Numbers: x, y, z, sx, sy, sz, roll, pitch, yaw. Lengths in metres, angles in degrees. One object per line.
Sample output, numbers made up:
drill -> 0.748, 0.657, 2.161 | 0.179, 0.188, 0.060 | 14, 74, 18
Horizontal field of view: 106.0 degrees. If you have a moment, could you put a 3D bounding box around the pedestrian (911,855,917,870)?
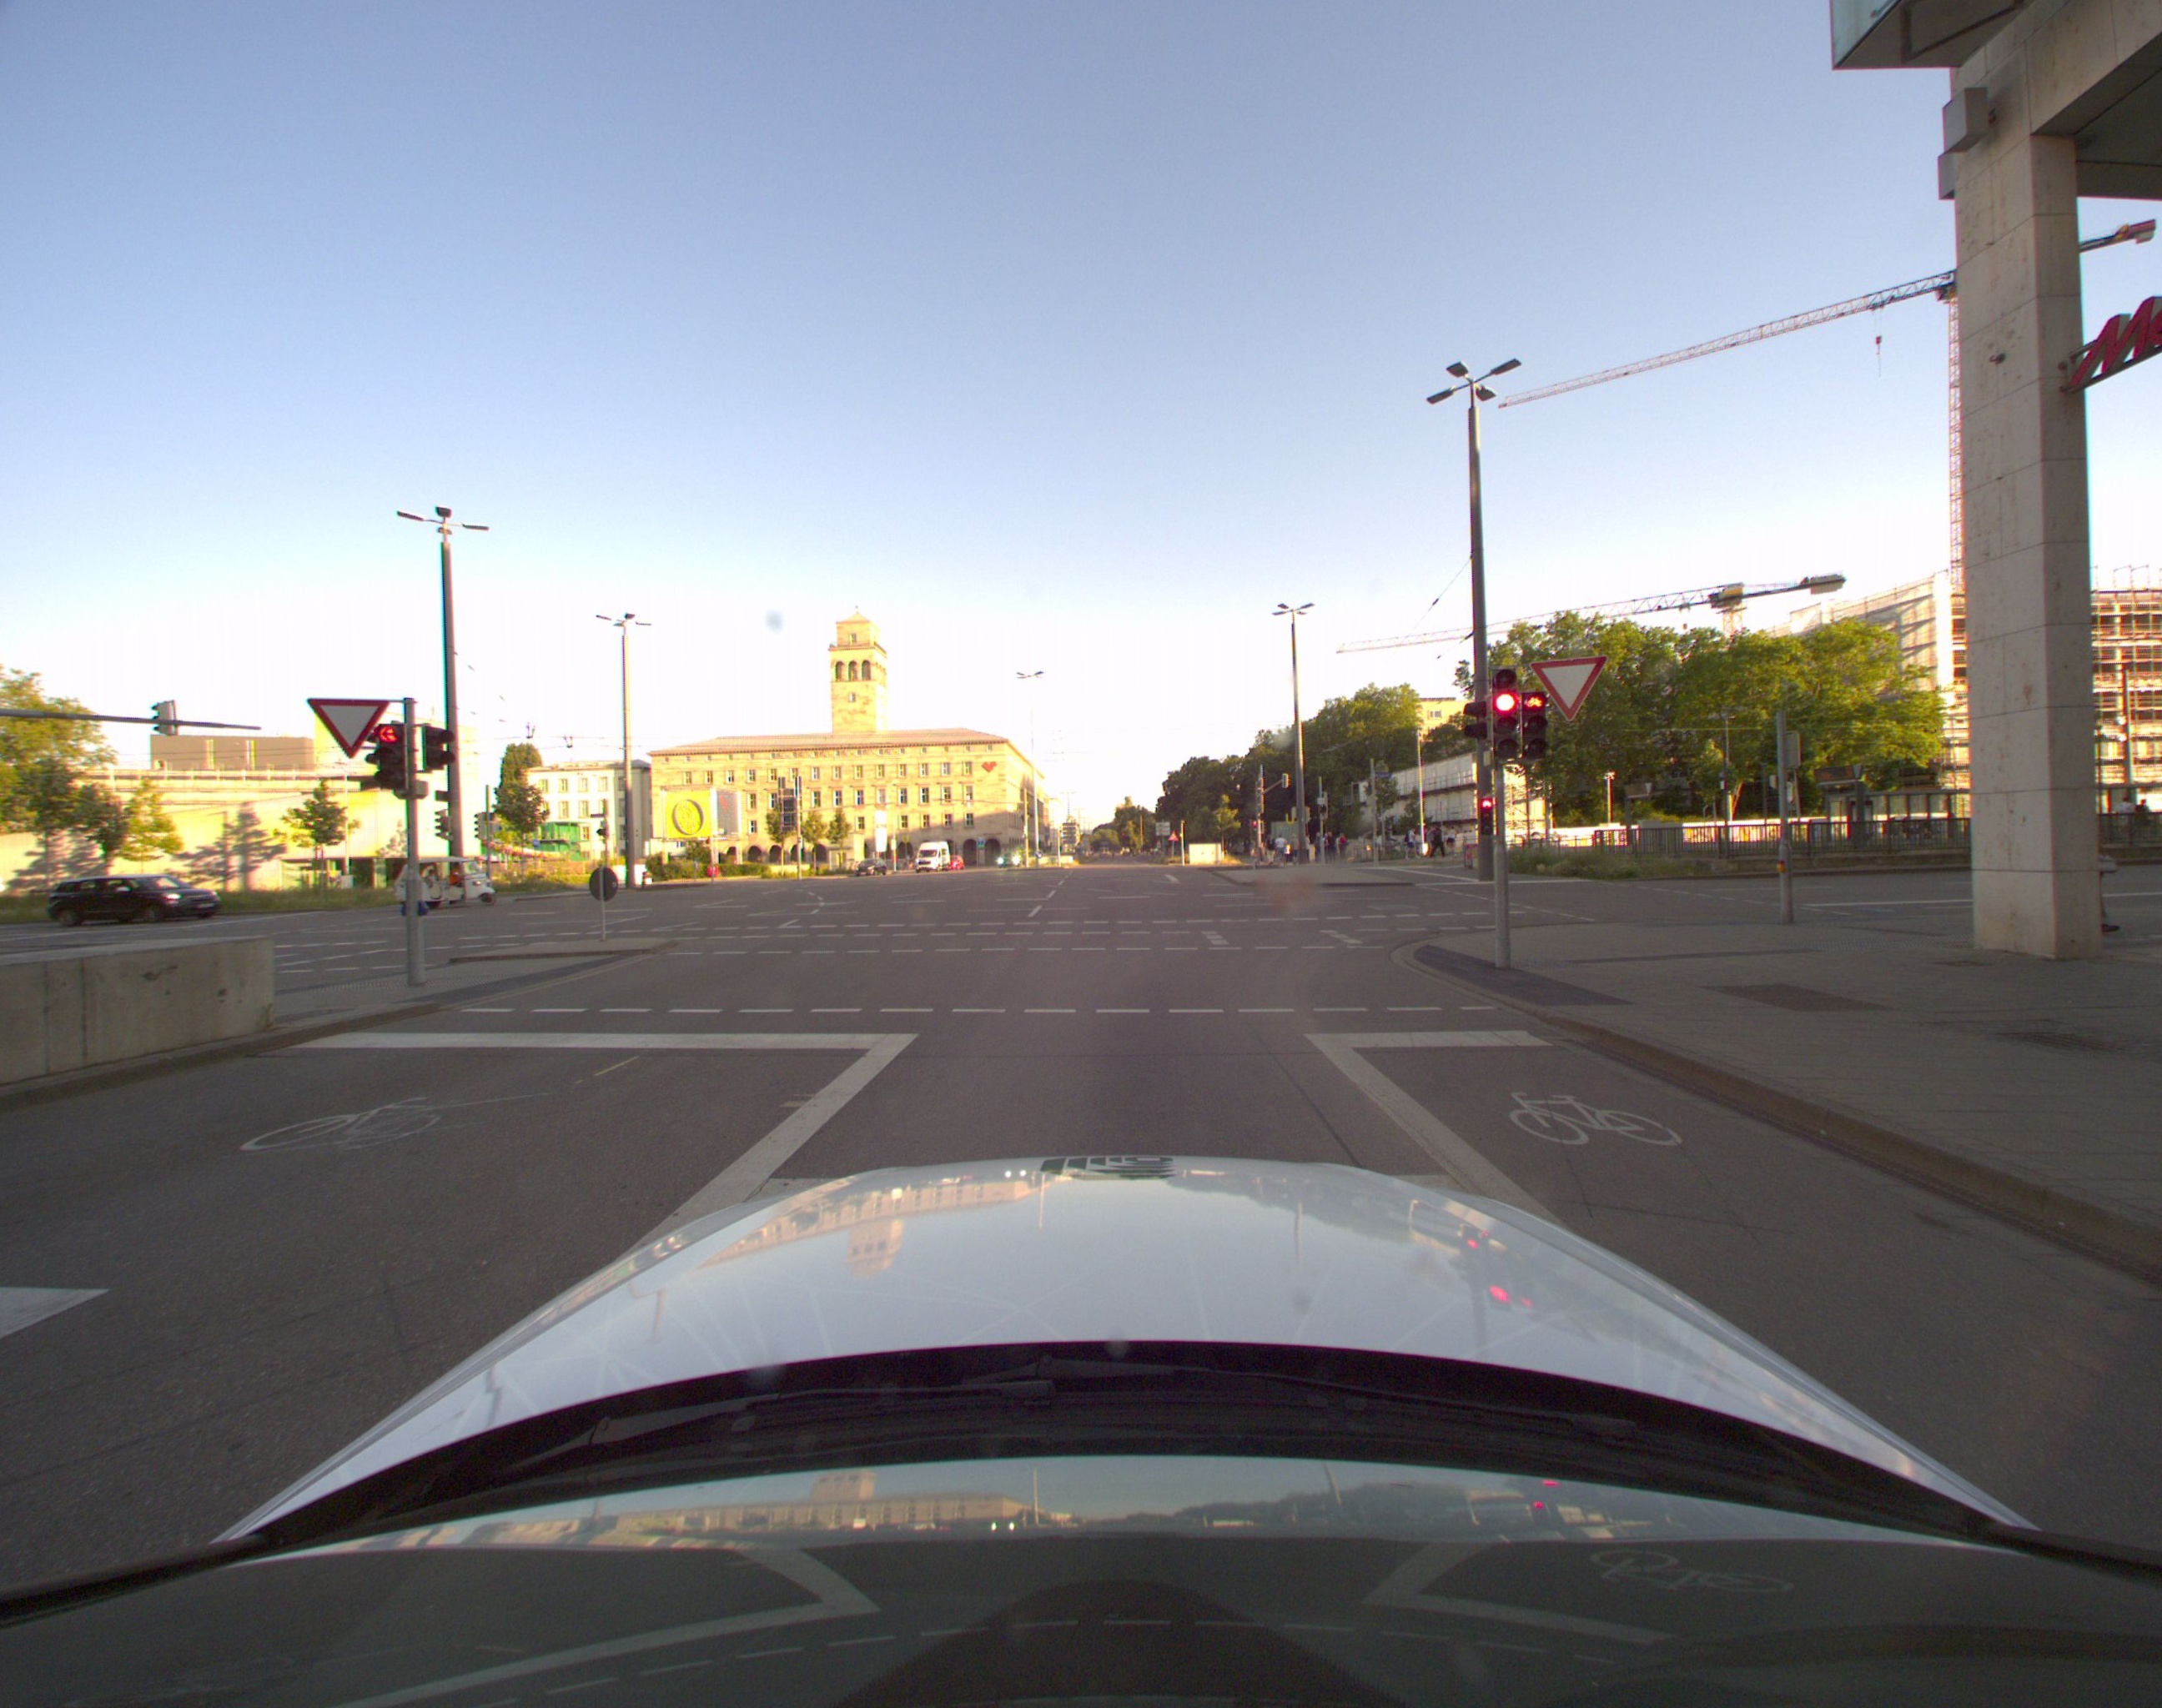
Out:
pedestrian -> -19.946, 0.997, 97.021 | 0.620, 1.744, 0.459 | 0, -1, -4

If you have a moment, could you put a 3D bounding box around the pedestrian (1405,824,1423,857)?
pedestrian -> 17.864, -0.704, 43.660 | 0.663, 1.725, 0.714 | -2, 0, 4

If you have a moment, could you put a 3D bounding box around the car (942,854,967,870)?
car -> -12.634, 0.801, 81.669 | 1.732, 1.487, 4.002 | -2, 1, 2

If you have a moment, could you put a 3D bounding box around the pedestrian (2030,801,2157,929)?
pedestrian -> 13.596, 0.142, 10.956 | 0.788, 1.638, 0.708 | -2, 0, 1

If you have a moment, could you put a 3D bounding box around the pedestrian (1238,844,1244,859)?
pedestrian -> 18.480, -0.302, 94.041 | 0.638, 1.760, 0.526 | -2, 1, 10

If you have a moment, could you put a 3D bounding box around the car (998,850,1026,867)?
car -> -6.163, 0.401, 72.960 | 1.815, 1.341, 4.005 | -2, 1, 4

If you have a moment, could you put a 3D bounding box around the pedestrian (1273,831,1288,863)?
pedestrian -> 11.195, -0.393, 45.761 | 0.706, 1.725, 0.670 | -2, 0, 10

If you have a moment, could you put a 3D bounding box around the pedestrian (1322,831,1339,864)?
pedestrian -> 13.941, -0.378, 45.516 | 0.799, 1.791, 0.804 | -2, 1, 16

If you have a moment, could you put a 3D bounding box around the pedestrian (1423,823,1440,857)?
pedestrian -> 18.504, -0.747, 42.975 | 0.705, 1.725, 0.672 | -2, 0, 19

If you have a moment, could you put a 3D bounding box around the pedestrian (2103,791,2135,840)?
pedestrian -> 43.767, -1.608, 34.351 | 0.573, 2.013, 0.568 | -2, 0, -2

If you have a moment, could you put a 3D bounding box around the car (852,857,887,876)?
car -> -18.381, 1.077, 70.888 | 1.817, 1.466, 4.158 | -2, 1, 0

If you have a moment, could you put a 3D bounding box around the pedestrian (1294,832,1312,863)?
pedestrian -> 12.681, -0.391, 46.509 | 0.905, 1.725, 0.716 | -2, 1, 13

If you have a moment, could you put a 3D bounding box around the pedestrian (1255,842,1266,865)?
pedestrian -> 13.375, -0.028, 60.700 | 0.555, 1.654, 0.907 | -2, 1, 22

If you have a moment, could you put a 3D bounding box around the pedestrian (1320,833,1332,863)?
pedestrian -> 14.118, -0.365, 46.955 | 0.568, 1.678, 0.641 | -2, 1, 16

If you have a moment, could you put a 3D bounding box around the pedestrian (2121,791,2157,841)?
pedestrian -> 43.828, -1.566, 33.750 | 0.623, 2.013, 0.642 | -2, 0, -2

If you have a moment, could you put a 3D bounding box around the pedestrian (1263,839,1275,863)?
pedestrian -> 13.945, -0.224, 60.456 | 0.673, 1.757, 0.907 | -2, 1, 22

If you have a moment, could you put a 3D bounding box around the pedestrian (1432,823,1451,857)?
pedestrian -> 18.420, -0.722, 41.639 | 0.663, 1.725, 0.714 | -2, 0, 3

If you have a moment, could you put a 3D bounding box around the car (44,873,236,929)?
car -> -31.510, 1.550, 27.362 | 4.113, 1.604, 1.742 | -2, 0, -5

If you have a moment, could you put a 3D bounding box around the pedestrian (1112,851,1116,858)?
pedestrian -> 7.923, 0.156, 194.877 | 0.903, 1.671, 1.307 | -2, 1, 1

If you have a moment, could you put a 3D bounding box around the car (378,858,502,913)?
car -> -22.067, 1.055, 28.163 | 2.974, 1.696, 1.478 | -2, 0, -20

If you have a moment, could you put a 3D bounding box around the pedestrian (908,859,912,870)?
pedestrian -> -20.077, 1.276, 95.588 | 0.420, 1.300, 0.459 | 0, -1, -3

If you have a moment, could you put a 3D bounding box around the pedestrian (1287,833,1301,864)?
pedestrian -> 11.919, -0.305, 45.554 | 0.705, 1.725, 0.671 | -2, 1, 15

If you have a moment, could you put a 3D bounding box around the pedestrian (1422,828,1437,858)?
pedestrian -> 19.014, -0.581, 44.457 | 0.569, 1.592, 0.537 | -2, 0, 1

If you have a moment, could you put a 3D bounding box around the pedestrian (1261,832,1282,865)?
pedestrian -> 10.423, -0.300, 44.652 | 0.713, 1.725, 0.909 | -2, 1, -20

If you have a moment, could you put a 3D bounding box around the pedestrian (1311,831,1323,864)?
pedestrian -> 13.202, -0.356, 45.528 | 0.568, 1.791, 0.641 | -2, 1, 16

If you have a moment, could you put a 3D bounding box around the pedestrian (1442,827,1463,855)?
pedestrian -> 19.790, -0.687, 43.404 | 0.717, 1.441, 0.671 | -2, 0, -31

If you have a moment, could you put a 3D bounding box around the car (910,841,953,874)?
car -> -13.282, 0.241, 72.982 | 2.269, 2.776, 6.090 | -2, 0, 4

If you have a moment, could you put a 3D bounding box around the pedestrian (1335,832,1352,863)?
pedestrian -> 14.779, -0.367, 45.856 | 0.838, 1.734, 0.708 | -2, 1, 14

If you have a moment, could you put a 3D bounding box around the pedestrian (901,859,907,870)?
pedestrian -> -20.939, 1.233, 96.342 | 0.504, 1.300, 0.700 | 0, -1, -3
